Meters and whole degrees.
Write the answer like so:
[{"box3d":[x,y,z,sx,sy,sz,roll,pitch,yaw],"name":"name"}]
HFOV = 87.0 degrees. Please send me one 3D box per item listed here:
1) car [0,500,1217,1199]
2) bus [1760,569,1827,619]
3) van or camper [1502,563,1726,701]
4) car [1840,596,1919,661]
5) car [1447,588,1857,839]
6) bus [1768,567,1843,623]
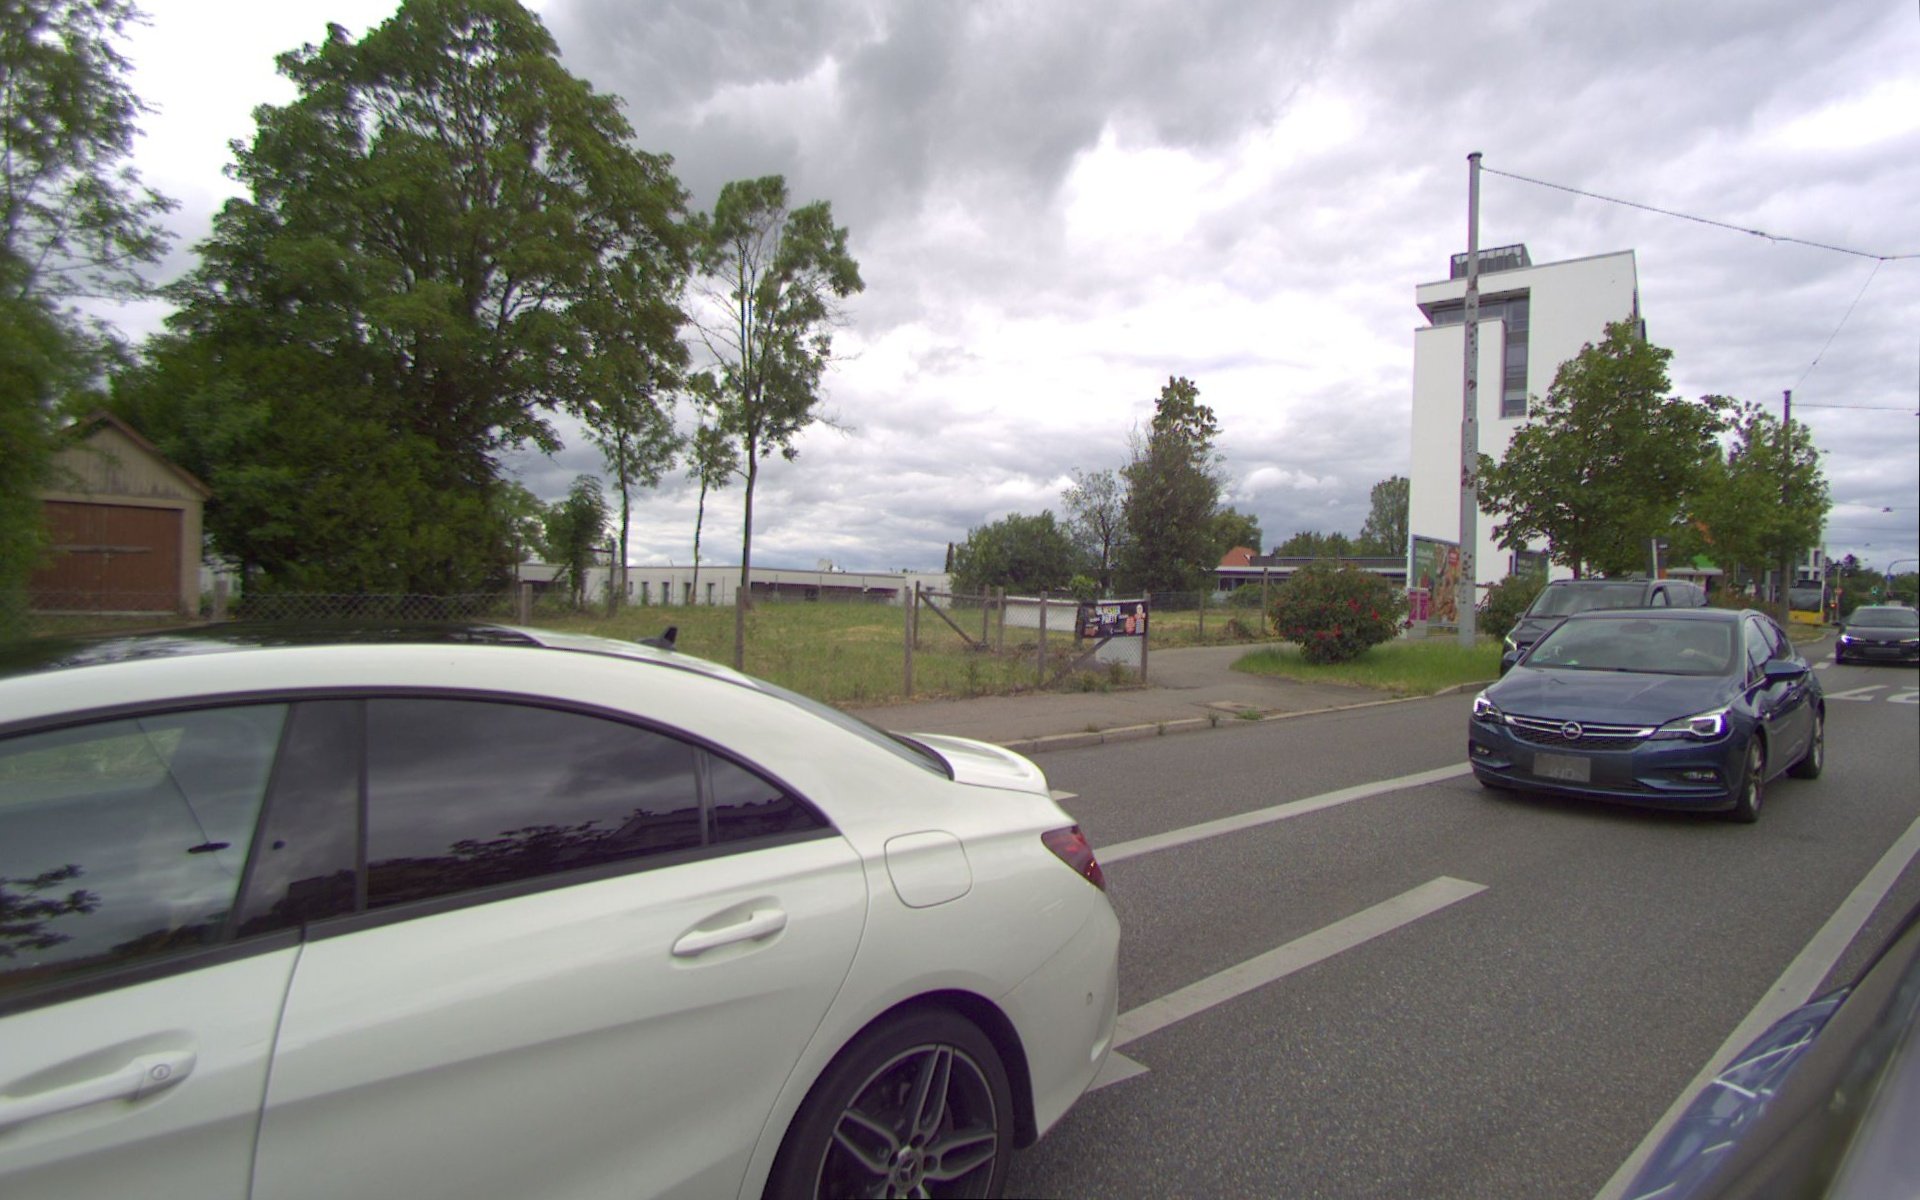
[{"box3d":[-1.711,0.649,1.796,4.689,1.524,1.871,0,0,-41],"name":"car"},{"box3d":[58.298,-0.391,70.939,3.028,3.276,9.214,2,1,36],"name":"bus"},{"box3d":[10.584,0.448,16.226,4.764,1.902,1.807,0,0,-41],"name":"van or camper"},{"box3d":[23.333,0.664,25.104,4.293,1.501,1.733,0,0,-41],"name":"car"},{"box3d":[5.727,0.685,8.144,4.293,1.501,1.733,0,0,-41],"name":"car"},{"box3d":[52.871,-0.300,63.494,2.975,3.282,9.734,1,1,37],"name":"bus"}]
